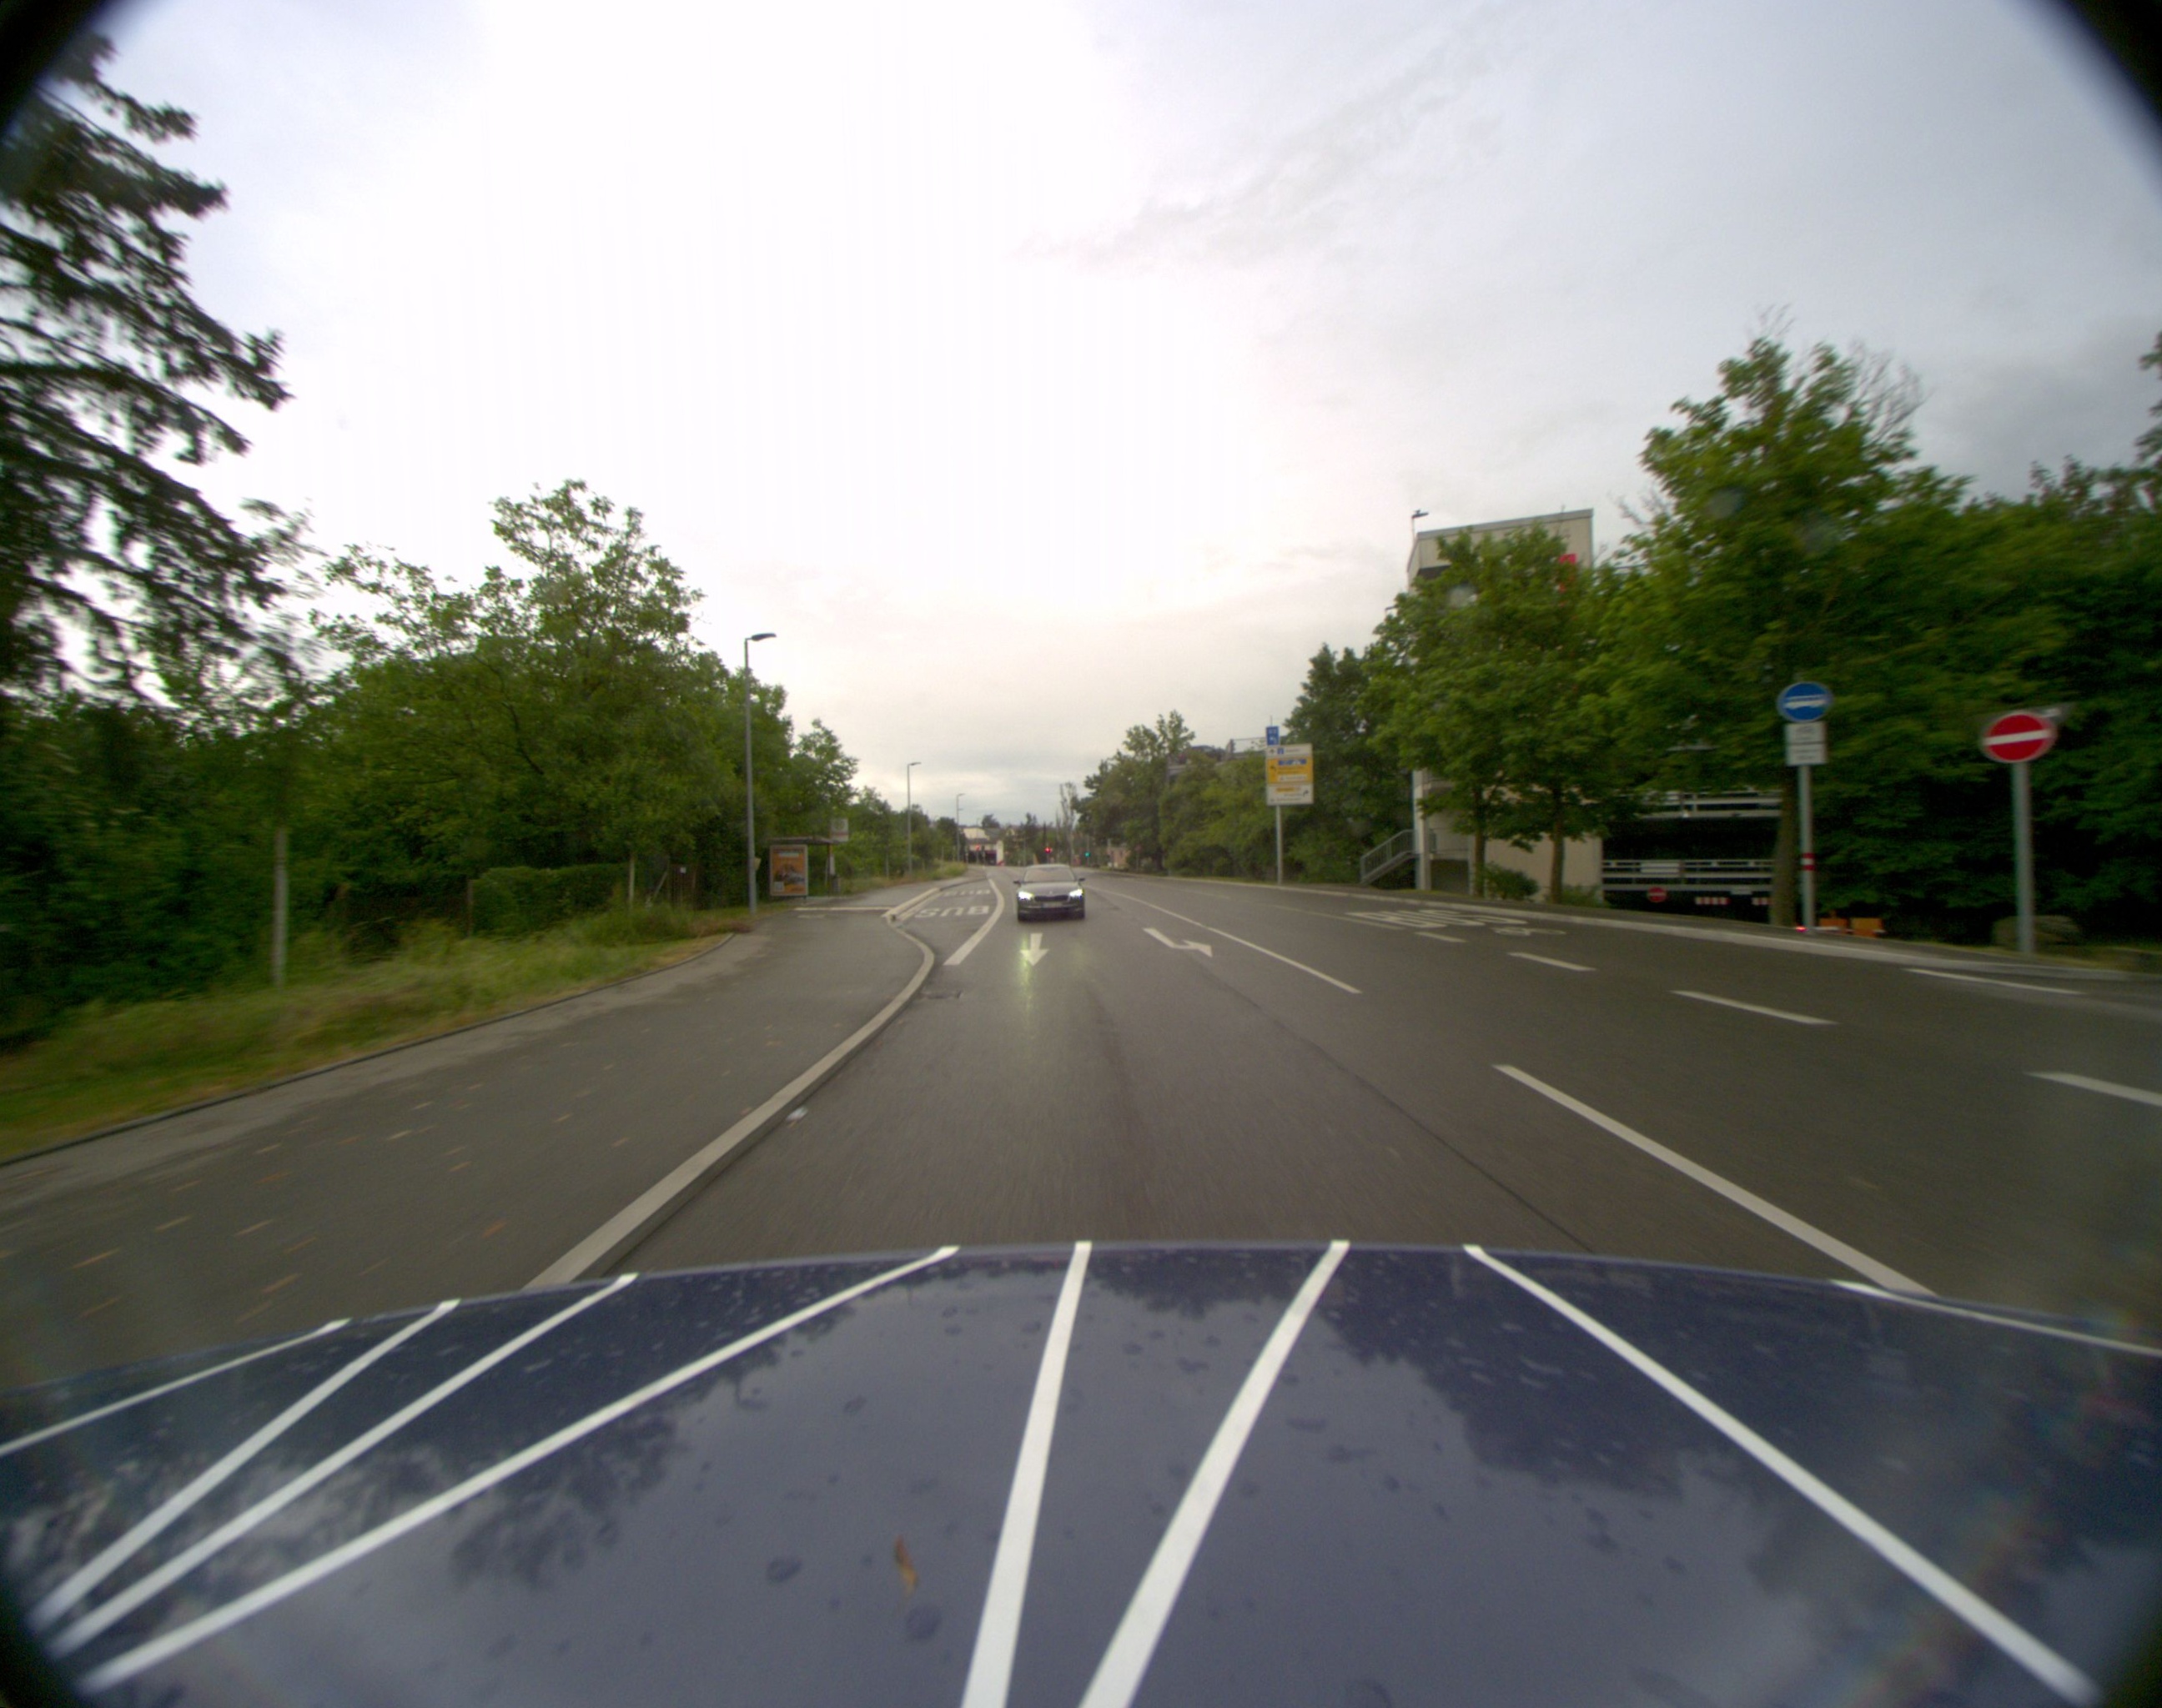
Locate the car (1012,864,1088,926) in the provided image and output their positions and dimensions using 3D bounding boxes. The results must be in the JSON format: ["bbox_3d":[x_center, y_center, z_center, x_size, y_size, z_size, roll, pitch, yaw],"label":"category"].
[{"bbox_3d":[-0.781,1.067,21.226,1.839,1.448,4.202,-3,0,0],"label":"car"}]

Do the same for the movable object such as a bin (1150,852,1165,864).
[{"bbox_3d":[17.587,0.970,173.958,2.999,2.611,1.927,2,-1,-8],"label":"movable object such as a bin"}]

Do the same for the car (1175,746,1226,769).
[{"bbox_3d":[10.150,-8.171,64.417,3.991,1.510,2.003,0,0,21],"label":"car"}]

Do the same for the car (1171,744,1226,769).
[{"bbox_3d":[9.340,-7.707,60.310,3.991,1.510,2.003,0,0,21],"label":"car"}]
